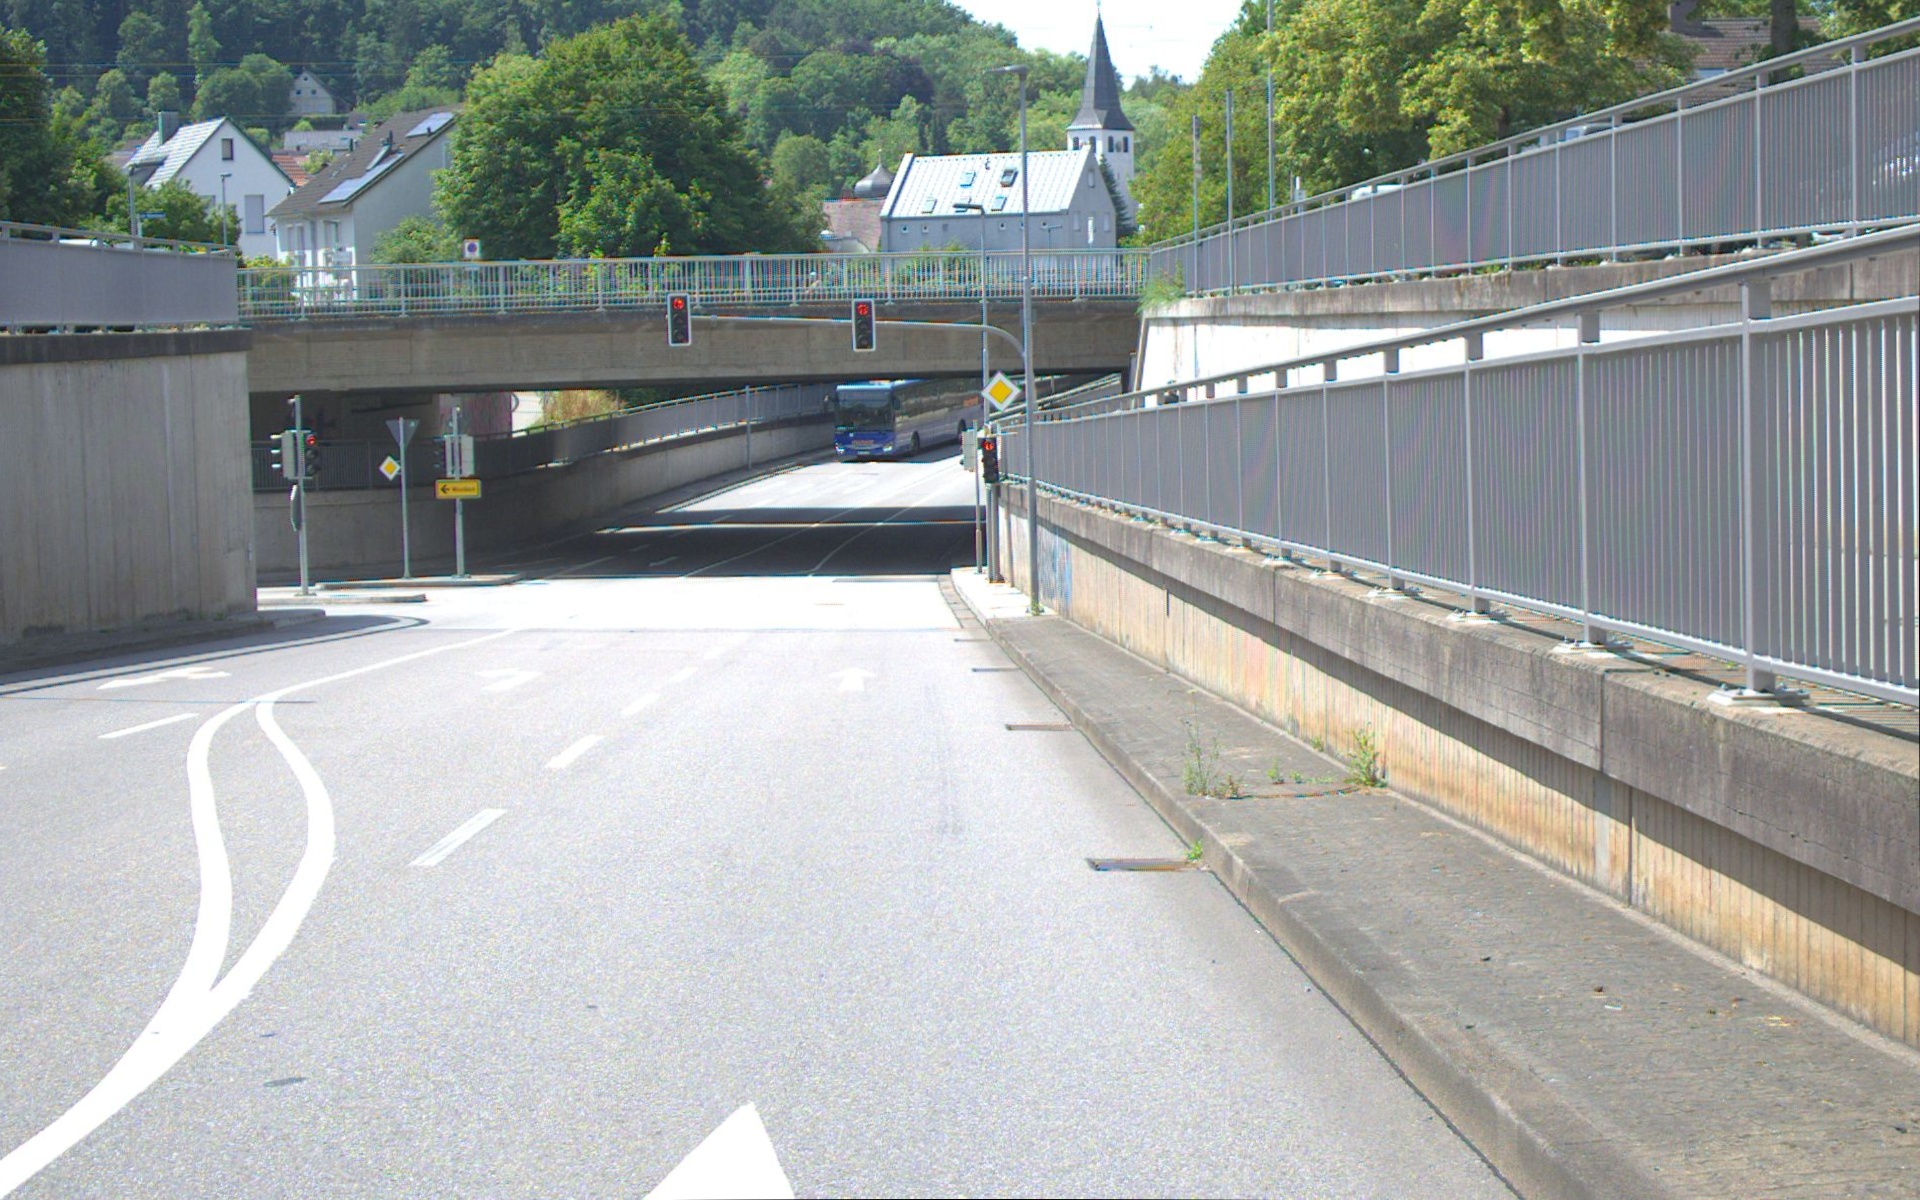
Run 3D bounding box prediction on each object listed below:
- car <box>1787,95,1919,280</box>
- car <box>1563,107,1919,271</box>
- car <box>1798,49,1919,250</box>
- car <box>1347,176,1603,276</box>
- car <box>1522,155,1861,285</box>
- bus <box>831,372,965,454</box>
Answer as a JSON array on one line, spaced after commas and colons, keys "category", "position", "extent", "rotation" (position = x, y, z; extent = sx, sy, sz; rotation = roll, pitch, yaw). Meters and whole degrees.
[{"category": "car", "position": [9.561, -3.660, 30.627], "extent": [3.987, 1.481, 1.770], "rotation": [0, 2, 2]}, {"category": "car", "position": [9.336, -4.884, 41.072], "extent": [3.987, 1.764, 1.770], "rotation": [0, 1, 2]}, {"category": "car", "position": [9.178, -3.739, 28.645], "extent": [3.987, 1.481, 1.770], "rotation": [0, 2, 2]}, {"category": "car", "position": [8.439, -6.134, 56.553], "extent": [3.987, 1.481, 1.770], "rotation": [0, 2, 2]}, {"category": "car", "position": [9.288, -4.832, 43.891], "extent": [3.987, 1.481, 1.770], "rotation": [0, 2, 2]}, {"category": "bus", "position": [-2.406, -7.643, 139.284], "extent": [2.582, 3.161, 12.372], "rotation": [0, 4, 13]}]
